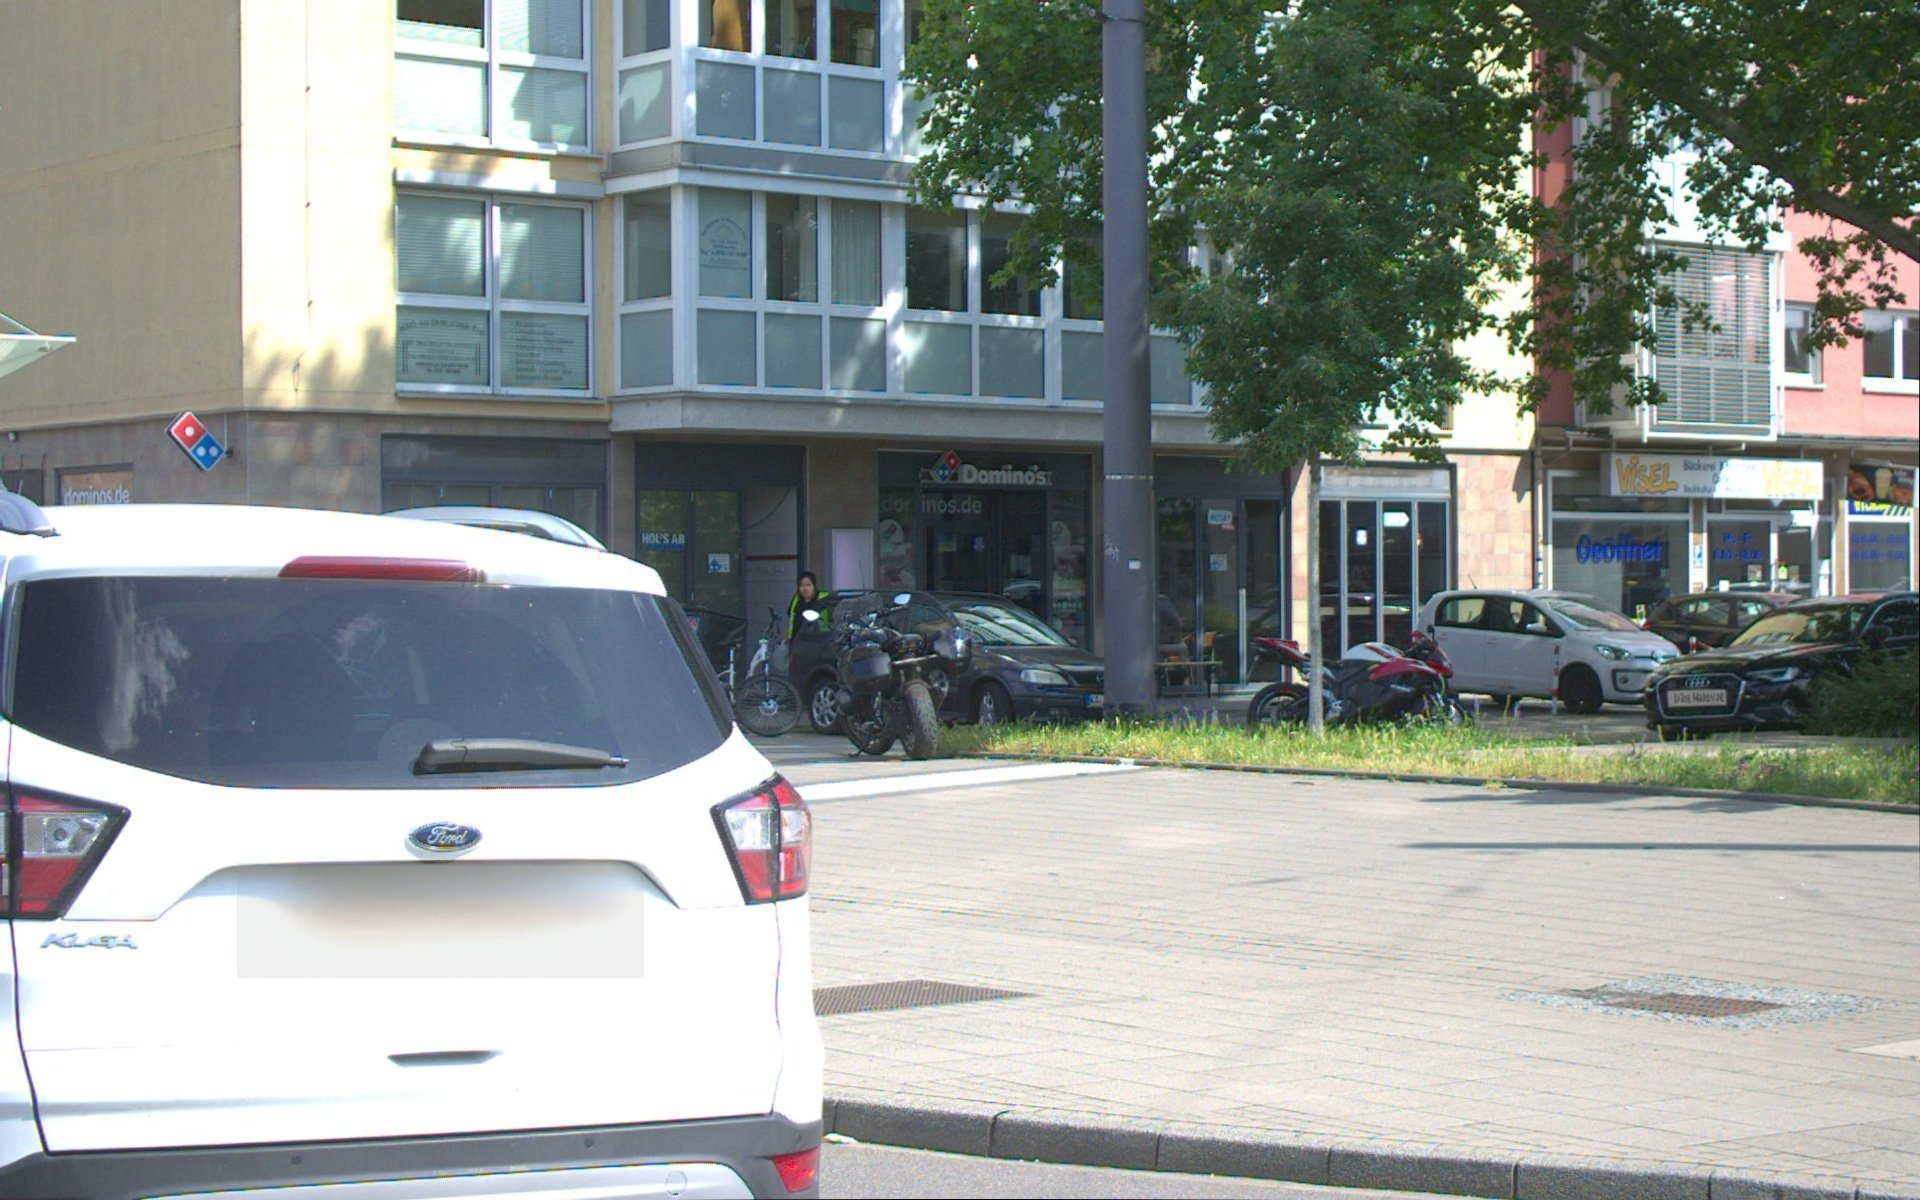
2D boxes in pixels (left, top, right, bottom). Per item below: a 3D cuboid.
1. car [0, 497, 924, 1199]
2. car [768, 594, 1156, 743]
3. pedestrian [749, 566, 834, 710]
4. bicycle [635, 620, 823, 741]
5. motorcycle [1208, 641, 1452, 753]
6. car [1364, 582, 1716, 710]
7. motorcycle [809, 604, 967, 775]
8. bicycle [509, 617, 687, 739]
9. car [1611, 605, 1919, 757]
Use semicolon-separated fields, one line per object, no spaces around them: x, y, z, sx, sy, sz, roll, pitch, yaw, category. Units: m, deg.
-1.794;0.696;7.176;1.827;1.658;3.956;1;-1;-28;car
-0.030;0.666;34.906;1.668;1.393;3.998;1;0;-42;car
-1.935;0.429;39.465;0.857;1.602;0.832;1;2;-9;pedestrian
-2.317;0.784;34.356;0.794;1.143;1.948;0;1;-45;bicycle
3.213;0.836;29.785;2.038;0.914;0.811;-1;0;10;motorcycle
7.047;0.522;42.020;1.798;1.490;3.998;0;0;-42;car
-0.579;0.664;26.574;0.902;1.234;2.219;-1;0;-9;motorcycle
-3.594;0.753;34.006;0.794;1.143;1.808;0;1;-45;bicycle
8.487;0.794;33.948;3.988;1.409;1.911;1;-1;-39;car
